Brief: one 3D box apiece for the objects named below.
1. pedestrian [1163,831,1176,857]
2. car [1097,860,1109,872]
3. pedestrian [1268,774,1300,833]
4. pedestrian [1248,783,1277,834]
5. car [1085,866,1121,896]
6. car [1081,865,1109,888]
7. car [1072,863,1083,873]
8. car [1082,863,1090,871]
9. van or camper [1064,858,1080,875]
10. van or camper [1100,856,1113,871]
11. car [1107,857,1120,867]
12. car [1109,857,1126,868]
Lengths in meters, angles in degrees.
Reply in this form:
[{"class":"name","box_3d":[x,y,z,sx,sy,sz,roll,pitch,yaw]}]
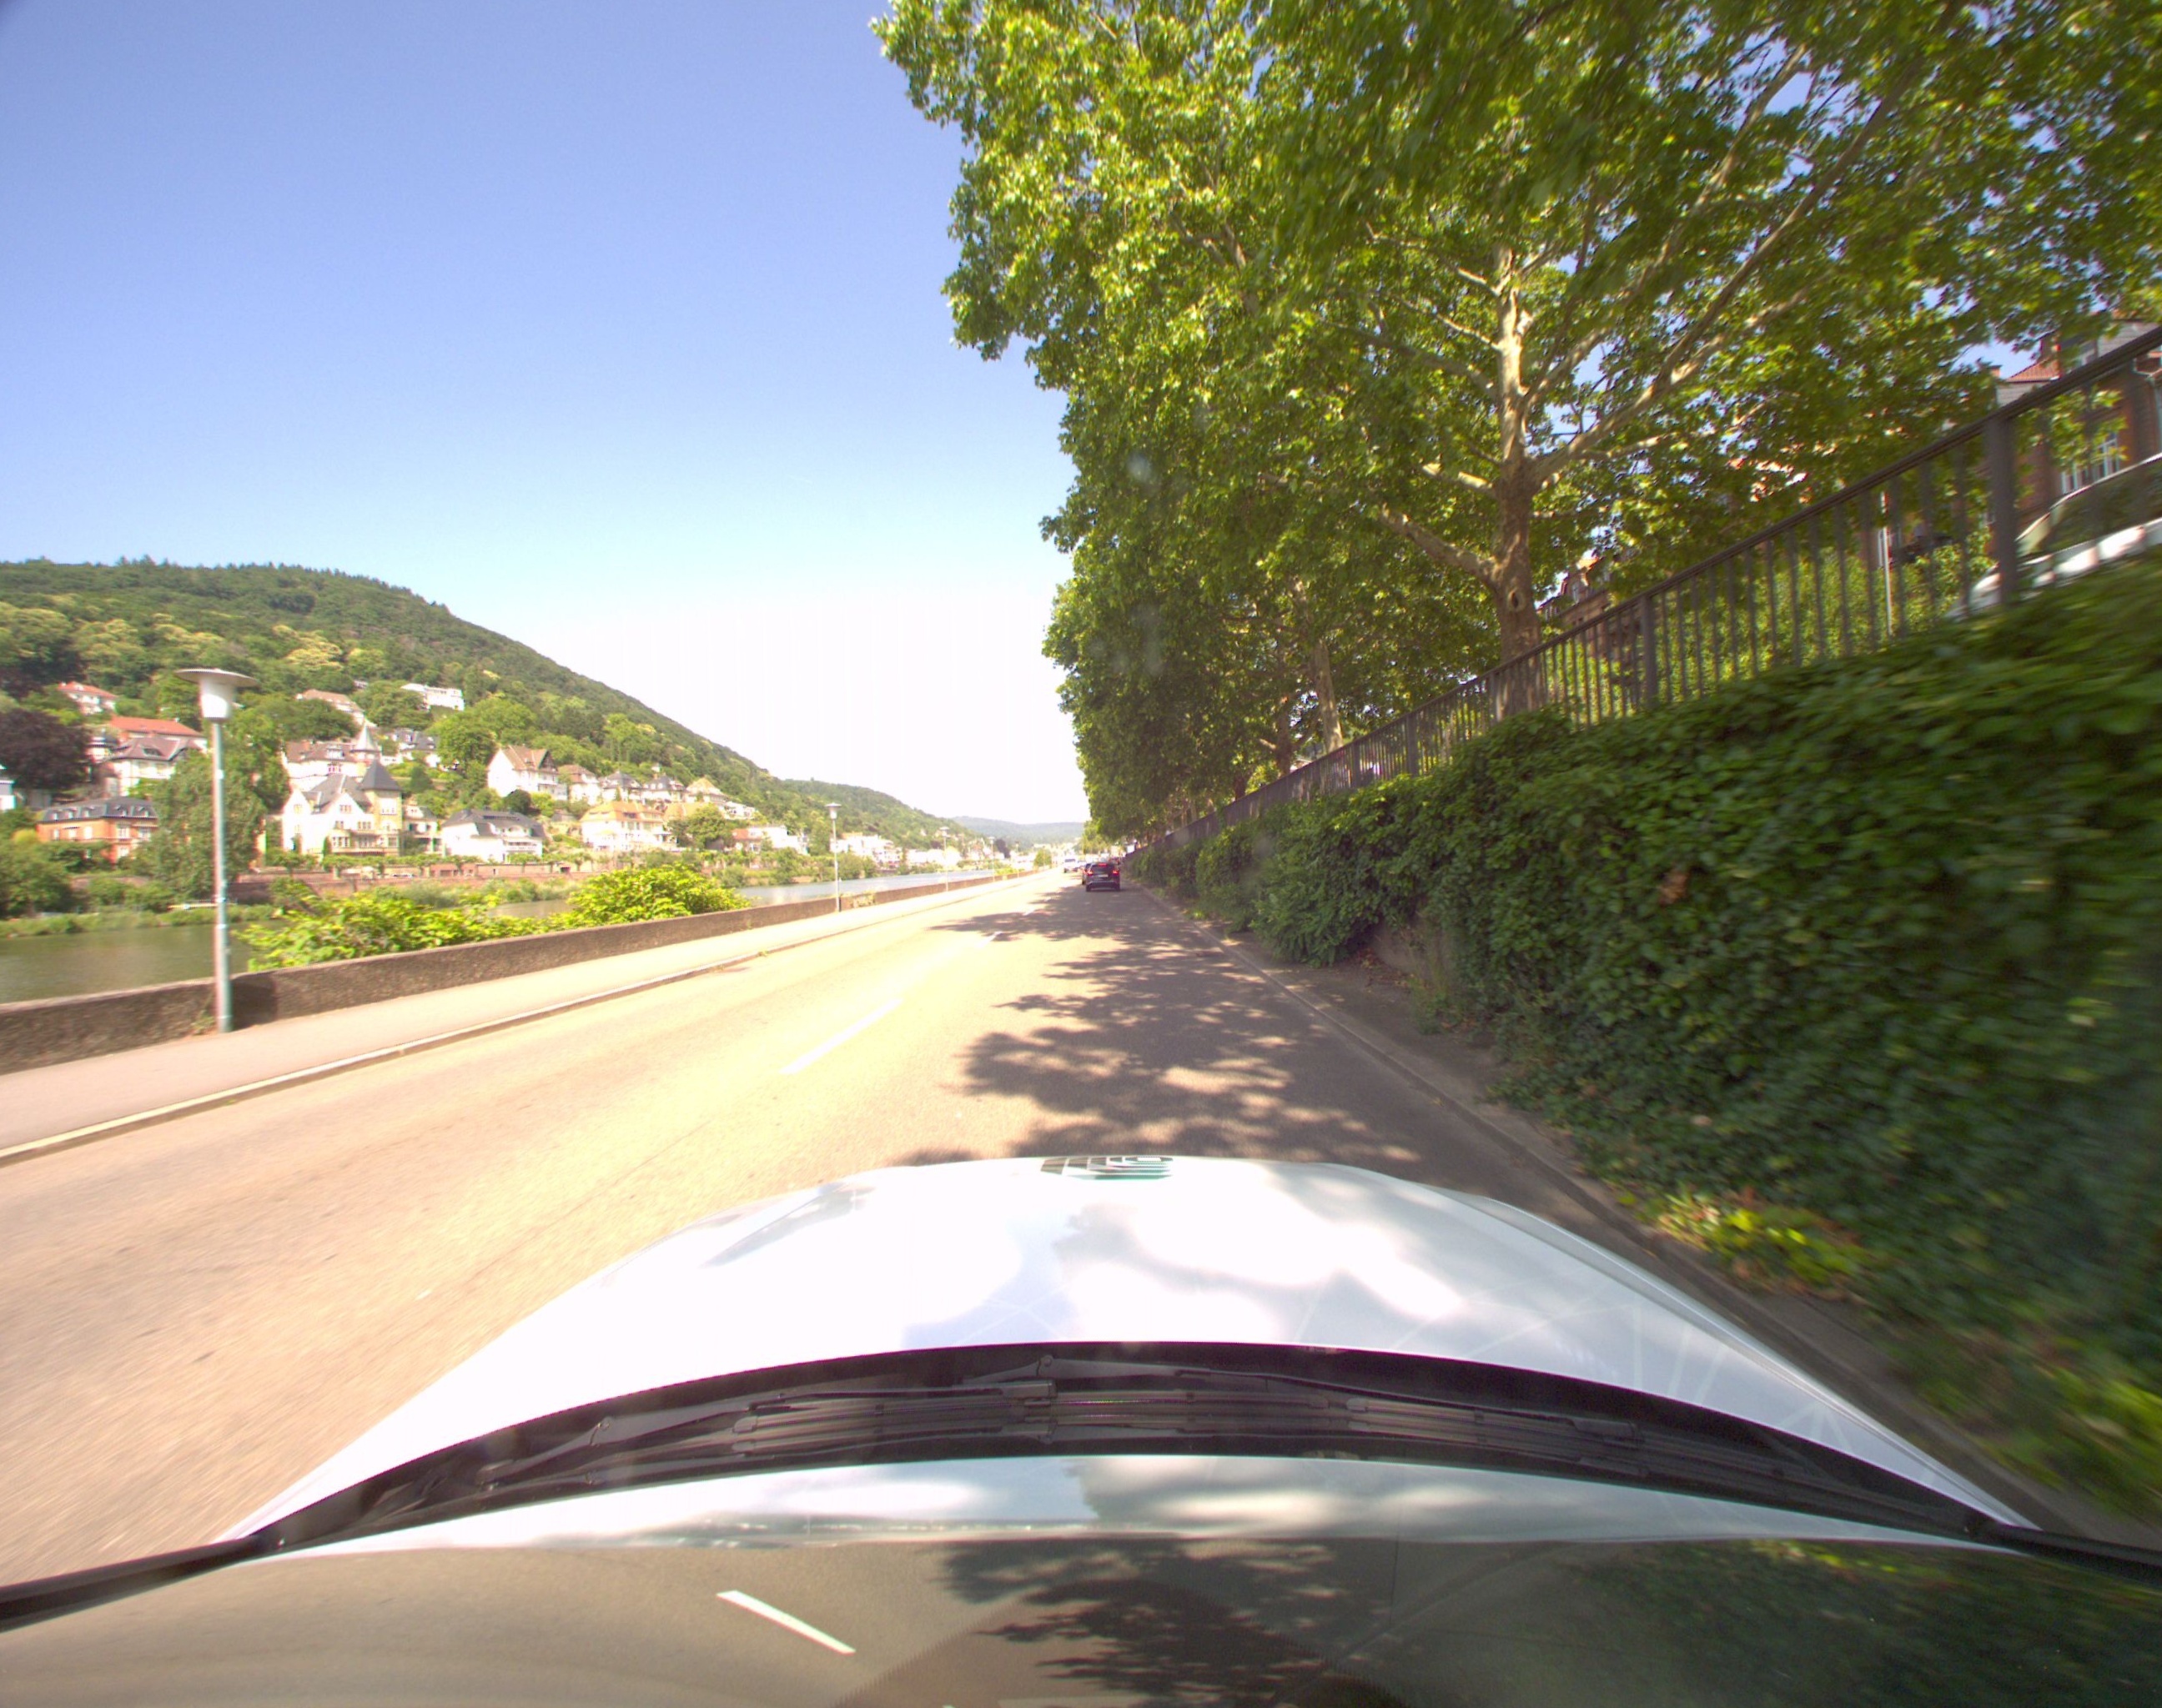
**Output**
[{"class":"pedestrian","box_3d":[5.422,-0.614,49.950,0.662,1.591,0.651,-3,-1,1]},{"class":"car","box_3d":[3.975,2.141,147.101,1.987,2.169,4.000,-3,-1,0]},{"class":"pedestrian","box_3d":[5.840,-1.443,23.427,0.646,1.640,0.625,-2,-1,-7]},{"class":"pedestrian","box_3d":[5.202,-1.294,23.357,0.584,1.419,0.588,-2,-1,-7]},{"class":"car","box_3d":[1.150,1.408,43.450,1.822,1.486,4.000,-1,-1,1]},{"class":"car","box_3d":[0.945,1.524,56.254,1.822,1.511,4.000,-1,-1,1]},{"class":"car","box_3d":[-0.638,2.453,146.854,1.726,1.650,4.177,-4,-1,1]},{"class":"car","box_3d":[1.039,2.702,167.316,1.726,1.442,4.045,-4,-1,1]},{"class":"van or camper","box_3d":[-1.338,1.844,120.375,2.070,2.398,5.386,-4,-1,1]},{"class":"van or camper","box_3d":[4.995,1.923,160.179,2.301,2.847,4.248,-3,-1,3]},{"class":"car","box_3d":[7.336,1.899,184.420,2.653,2.013,5.824,-5,-1,1]},{"class":"car","box_3d":[7.706,1.796,172.772,3.088,2.013,5.824,-5,-1,0]}]
